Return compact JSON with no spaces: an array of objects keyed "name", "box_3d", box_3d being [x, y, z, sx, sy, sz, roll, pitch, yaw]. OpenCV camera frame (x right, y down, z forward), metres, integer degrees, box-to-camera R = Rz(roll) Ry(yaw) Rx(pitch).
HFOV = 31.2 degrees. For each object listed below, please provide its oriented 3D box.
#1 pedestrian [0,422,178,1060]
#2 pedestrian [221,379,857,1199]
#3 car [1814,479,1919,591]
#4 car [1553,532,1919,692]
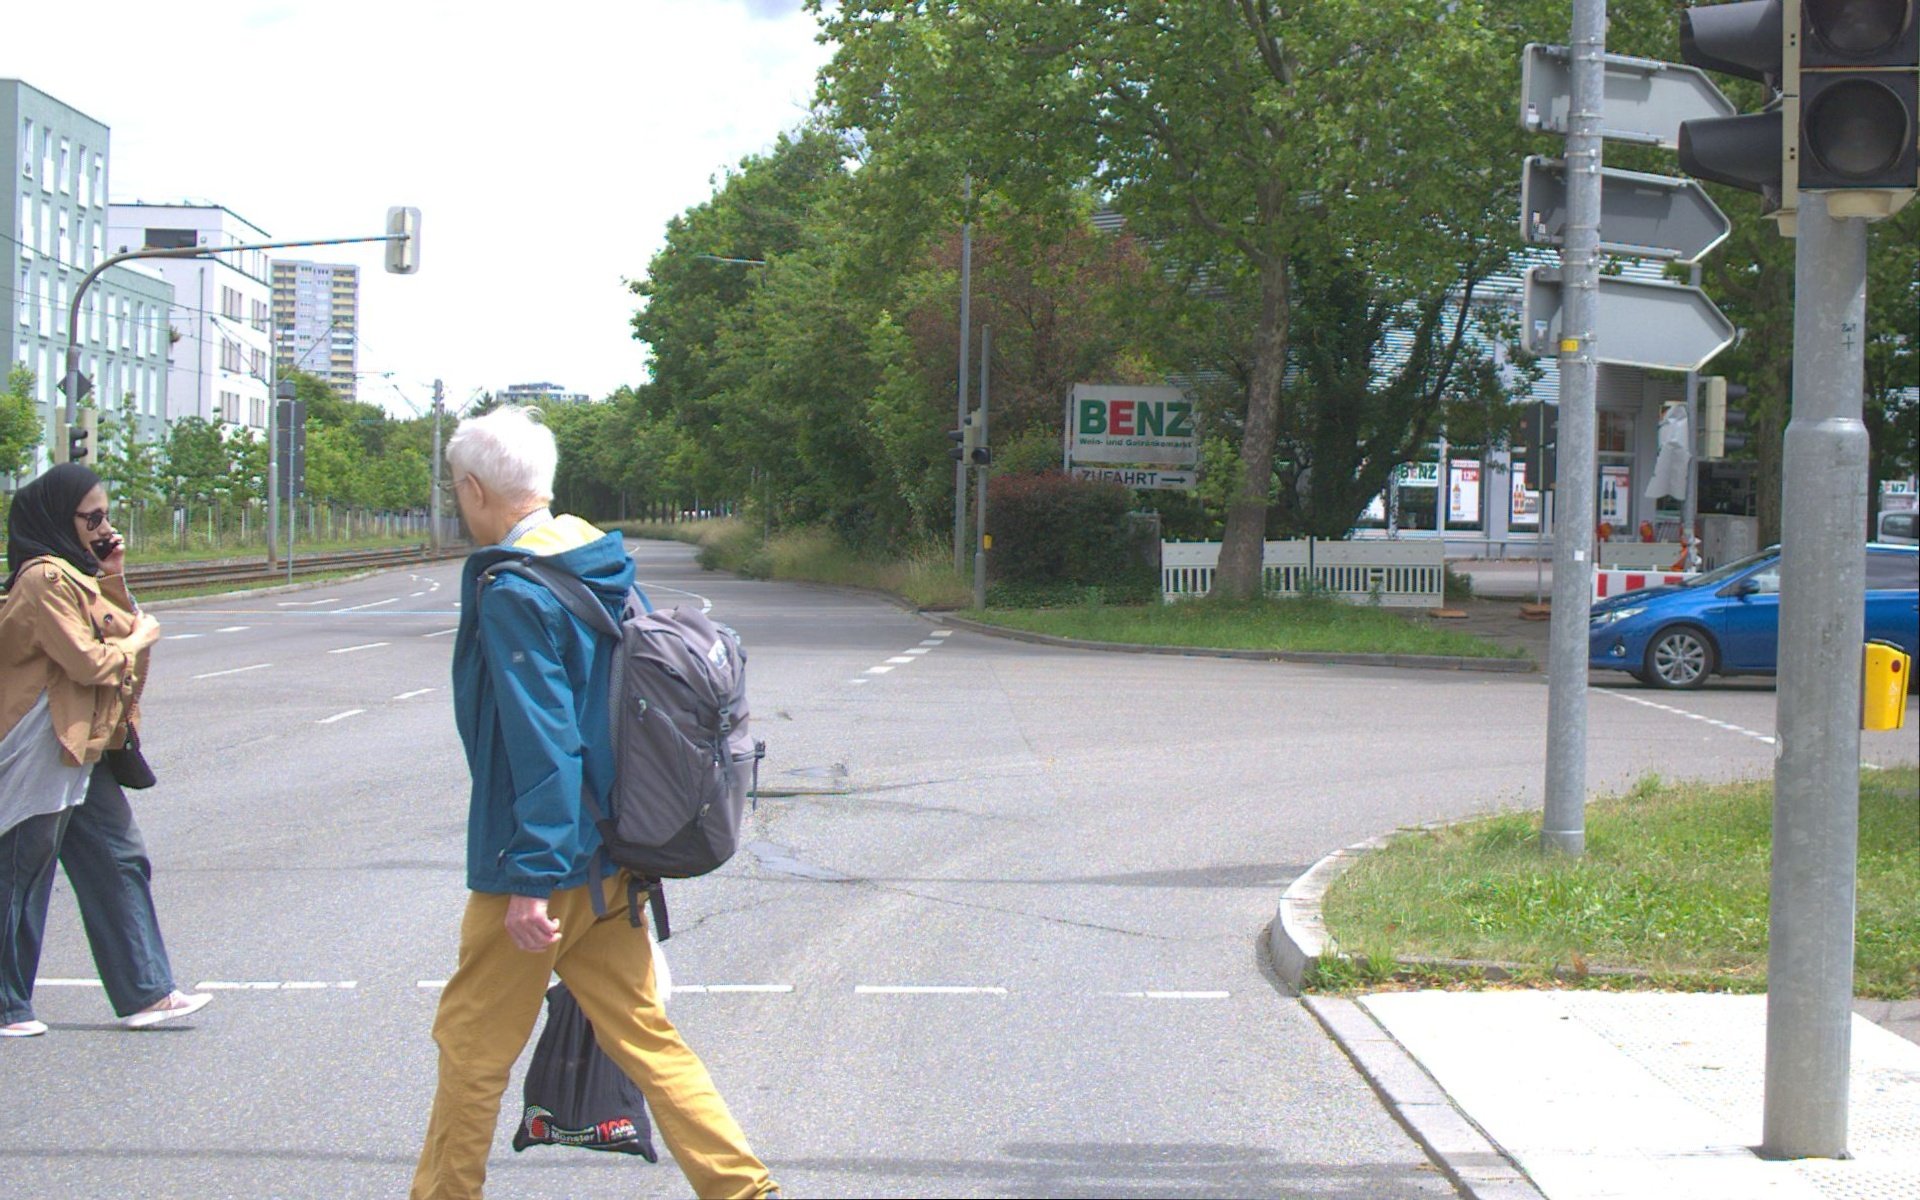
[{"name":"pedestrian","box_3d":[-2.628,0.375,9.766,0.781,1.737,0.829,0,1,-13]},{"name":"pedestrian","box_3d":[-0.808,0.467,6.857,1.010,1.768,0.948,1,1,10]},{"name":"car","box_3d":[17.741,-1.188,62.568,1.993,2.007,4.000,0,2,-32]},{"name":"car","box_3d":[8.234,0.101,33.698,4.476,1.481,1.989,1,1,0]}]
